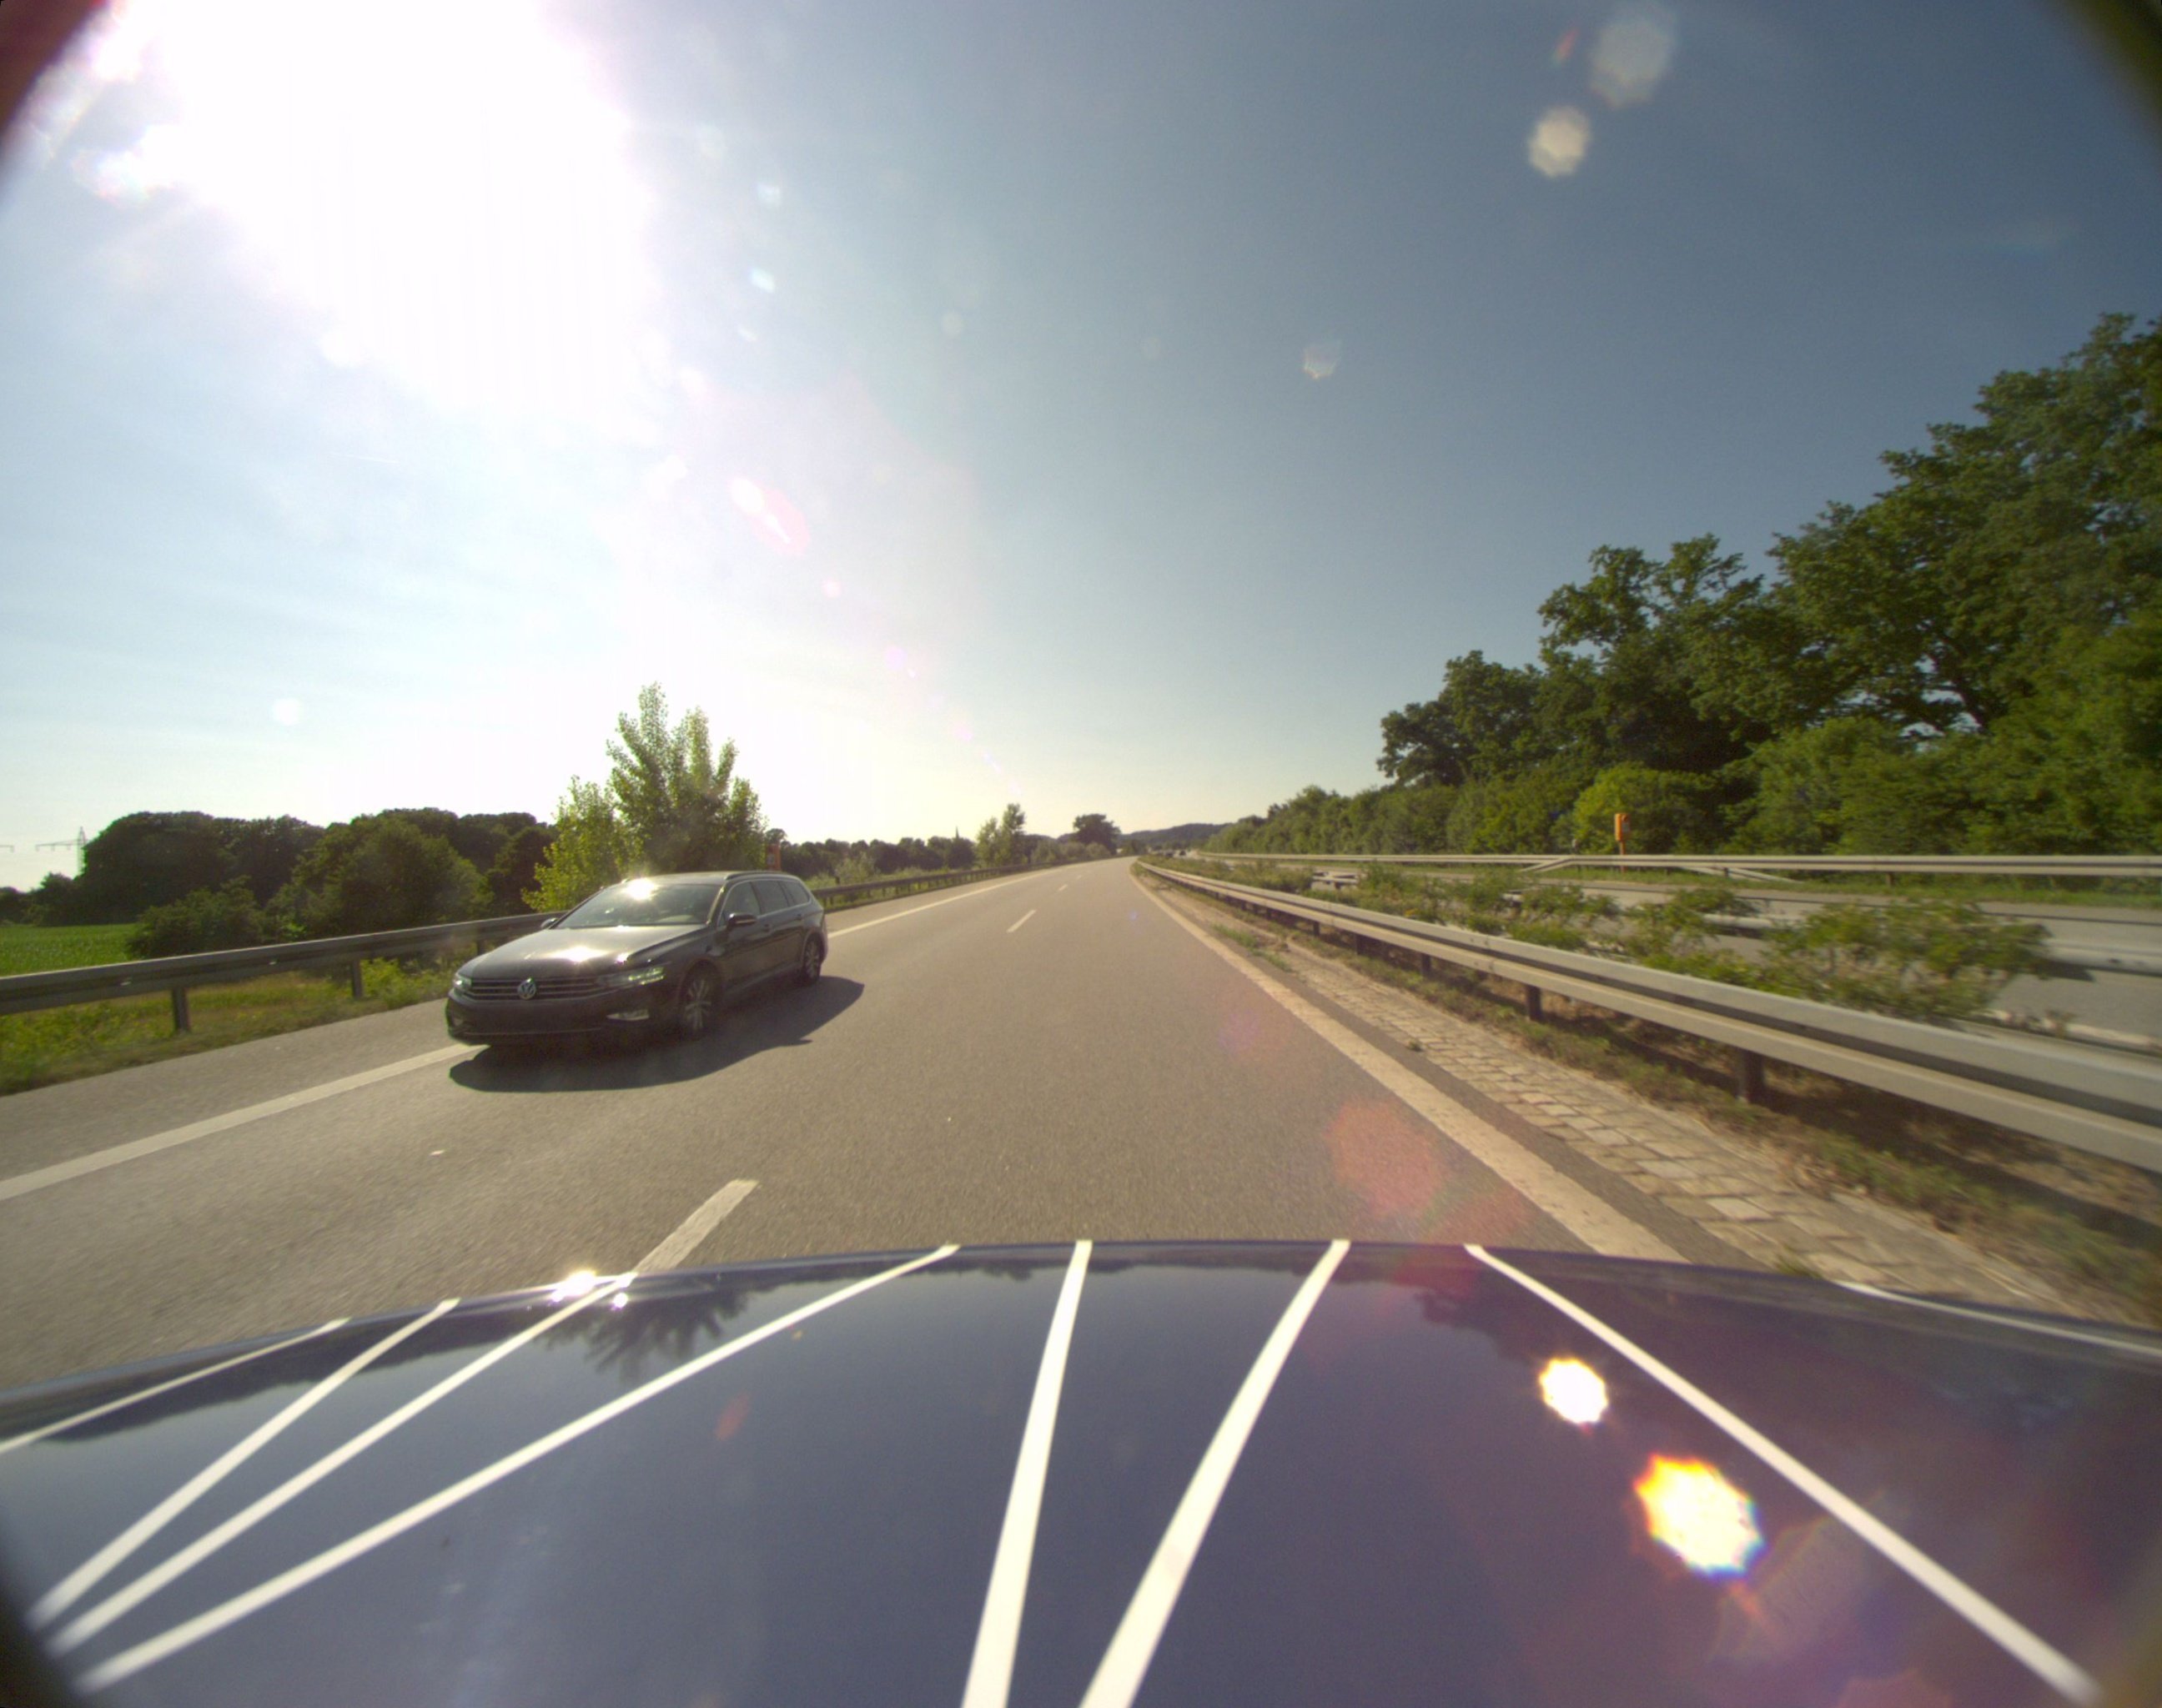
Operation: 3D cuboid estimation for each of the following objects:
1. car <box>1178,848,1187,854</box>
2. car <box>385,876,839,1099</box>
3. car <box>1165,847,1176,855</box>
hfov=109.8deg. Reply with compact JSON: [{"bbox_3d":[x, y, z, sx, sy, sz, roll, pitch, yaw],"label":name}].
[{"bbox_3d":[26.571,-0.801,198.167,1.998,1.423,4.487,-1,0,3],"label":"car"},{"bbox_3d":[-4.099,1.034,7.705,1.723,1.392,4.413,-2,1,2],"label":"car"},{"bbox_3d":[16.150,-0.558,136.936,1.733,1.420,3.882,-1,0,4],"label":"car"}]
